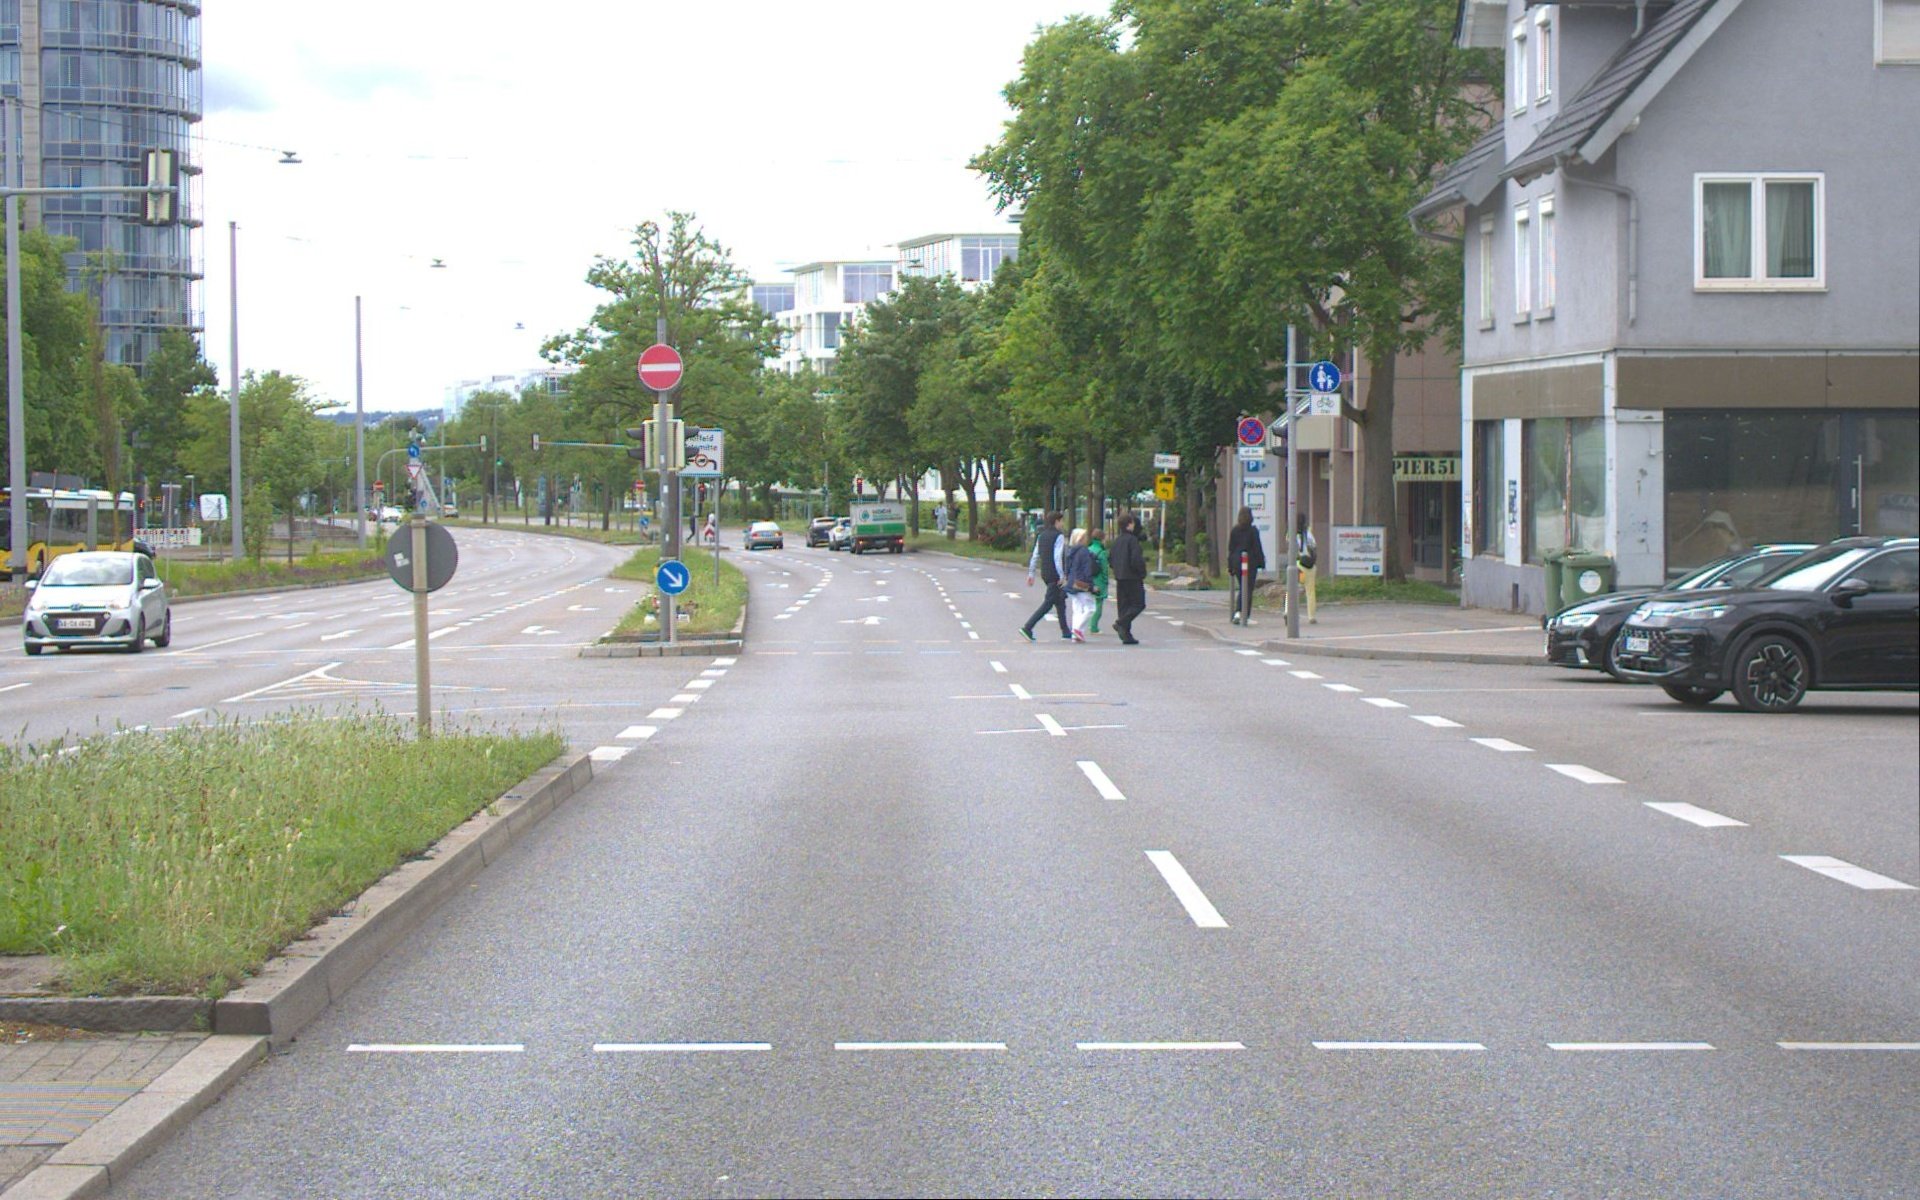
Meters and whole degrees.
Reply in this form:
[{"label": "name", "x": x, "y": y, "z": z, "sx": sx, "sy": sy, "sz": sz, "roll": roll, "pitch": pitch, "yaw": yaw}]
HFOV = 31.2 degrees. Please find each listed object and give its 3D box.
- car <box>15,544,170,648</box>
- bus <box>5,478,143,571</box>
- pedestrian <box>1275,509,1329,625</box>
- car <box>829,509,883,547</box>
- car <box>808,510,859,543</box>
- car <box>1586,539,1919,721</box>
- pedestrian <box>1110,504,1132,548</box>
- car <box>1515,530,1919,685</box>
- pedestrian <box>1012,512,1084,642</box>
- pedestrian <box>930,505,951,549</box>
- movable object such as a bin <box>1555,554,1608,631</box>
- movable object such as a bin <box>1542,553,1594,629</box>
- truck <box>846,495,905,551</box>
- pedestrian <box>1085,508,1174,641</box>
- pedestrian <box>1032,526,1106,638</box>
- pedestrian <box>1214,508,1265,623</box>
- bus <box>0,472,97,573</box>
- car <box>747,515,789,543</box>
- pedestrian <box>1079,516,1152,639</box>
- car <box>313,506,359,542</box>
[{"label": "car", "x": -12.805, "y": -0.084, "z": 50.923, "sx": 1.684, "sy": 1.457, "sz": 3.556, "roll": -1, "pitch": 1, "yaw": -5}, {"label": "bus", "x": -31.741, "y": -2.689, "z": 123.466, "sx": 3.144, "sy": 3.214, "sz": 7.766, "roll": -1, "pitch": 1, "yaw": -2}, {"label": "pedestrian", "x": 4.933, "y": -0.478, "z": 49.577, "sx": 0.705, "sy": 1.656, "sz": 0.870, "roll": -1, "pitch": 1, "yaw": 2}, {"label": "car", "x": -4.945, "y": -3.403, "z": 162.287, "sx": 2.251, "sy": 1.751, "sz": 4.934, "roll": -1, "pitch": 1, "yaw": -5}, {"label": "car", "x": -6.396, "y": -3.712, "z": 173.669, "sx": 2.250, "sy": 1.641, "sz": 4.934, "roll": -1, "pitch": 1, "yaw": -5}, {"label": "car", "x": 7.816, "y": 0.233, "z": 30.503, "sx": 4.057, "sy": 1.516, "sz": 1.841, "roll": 0, "pitch": 1, "yaw": -9}, {"label": "pedestrian", "x": 5.754, "y": -2.660, "z": 123.037, "sx": 0.650, "sy": 1.564, "sz": 0.671, "roll": -1, "pitch": 1, "yaw": -8}, {"label": "car", "x": 7.914, "y": 0.050, "z": 35.004, "sx": 4.084, "sy": 1.489, "sz": 1.896, "roll": -1, "pitch": 1, "yaw": -8}, {"label": "pedestrian", "x": 1.220, "y": -0.319, "z": 47.632, "sx": 0.867, "sy": 1.773, "sz": 0.708, "roll": -1, "pitch": 1, "yaw": -9}, {"label": "pedestrian", "x": -1.059, "y": -3.906, "z": 184.183, "sx": 0.930, "sy": 2.300, "sz": 1.011, "roll": 1, "pitch": 0, "yaw": -10}, {"label": "movable object such as a bin", "x": 7.959, "y": -0.099, "z": 44.049, "sx": 0.529, "sy": 0.976, "sz": 0.736, "roll": -1, "pitch": 1, "yaw": -1}, {"label": "movable object such as a bin", "x": 7.931, "y": -0.126, "z": 44.839, "sx": 0.529, "sy": 0.976, "sz": 0.736, "roll": -1, "pitch": 1, "yaw": -1}, {"label": "truck", "x": -3.734, "y": -3.355, "z": 150.629, "sx": 2.251, "sy": 2.408, "sz": 4.934, "roll": -1, "pitch": 1, "yaw": -5}, {"label": "pedestrian", "x": 2.261, "y": -0.343, "z": 45.988, "sx": 1.048, "sy": 1.754, "sz": 0.708, "roll": -1, "pitch": 1, "yaw": -9}, {"label": "pedestrian", "x": 1.482, "y": -0.255, "z": 46.828, "sx": 0.867, "sy": 1.502, "sz": 0.708, "roll": -1, "pitch": 1, "yaw": -9}, {"label": "pedestrian", "x": 4.079, "y": -0.501, "z": 50.102, "sx": 0.705, "sy": 1.656, "sz": 0.870, "roll": 0, "pitch": 1, "yaw": 6}, {"label": "bus", "x": -31.402, "y": -2.549, "z": 114.462, "sx": 3.144, "sy": 3.214, "sz": 10.286, "roll": -1, "pitch": 1, "yaw": -3}, {"label": "car", "x": -9.655, "y": -3.559, "z": 172.671, "sx": 1.967, "sy": 1.415, "sz": 4.023, "roll": -1, "pitch": 1, "yaw": -5}, {"label": "pedestrian", "x": 2.271, "y": -0.332, "z": 50.253, "sx": 0.867, "sy": 1.773, "sz": 0.708, "roll": -1, "pitch": 1, "yaw": -18}, {"label": "car", "x": -36.346, "y": -4.429, "z": 200.259, "sx": 1.965, "sy": 2.007, "sz": 4.000, "roll": 1, "pitch": 1, "yaw": -1}]
